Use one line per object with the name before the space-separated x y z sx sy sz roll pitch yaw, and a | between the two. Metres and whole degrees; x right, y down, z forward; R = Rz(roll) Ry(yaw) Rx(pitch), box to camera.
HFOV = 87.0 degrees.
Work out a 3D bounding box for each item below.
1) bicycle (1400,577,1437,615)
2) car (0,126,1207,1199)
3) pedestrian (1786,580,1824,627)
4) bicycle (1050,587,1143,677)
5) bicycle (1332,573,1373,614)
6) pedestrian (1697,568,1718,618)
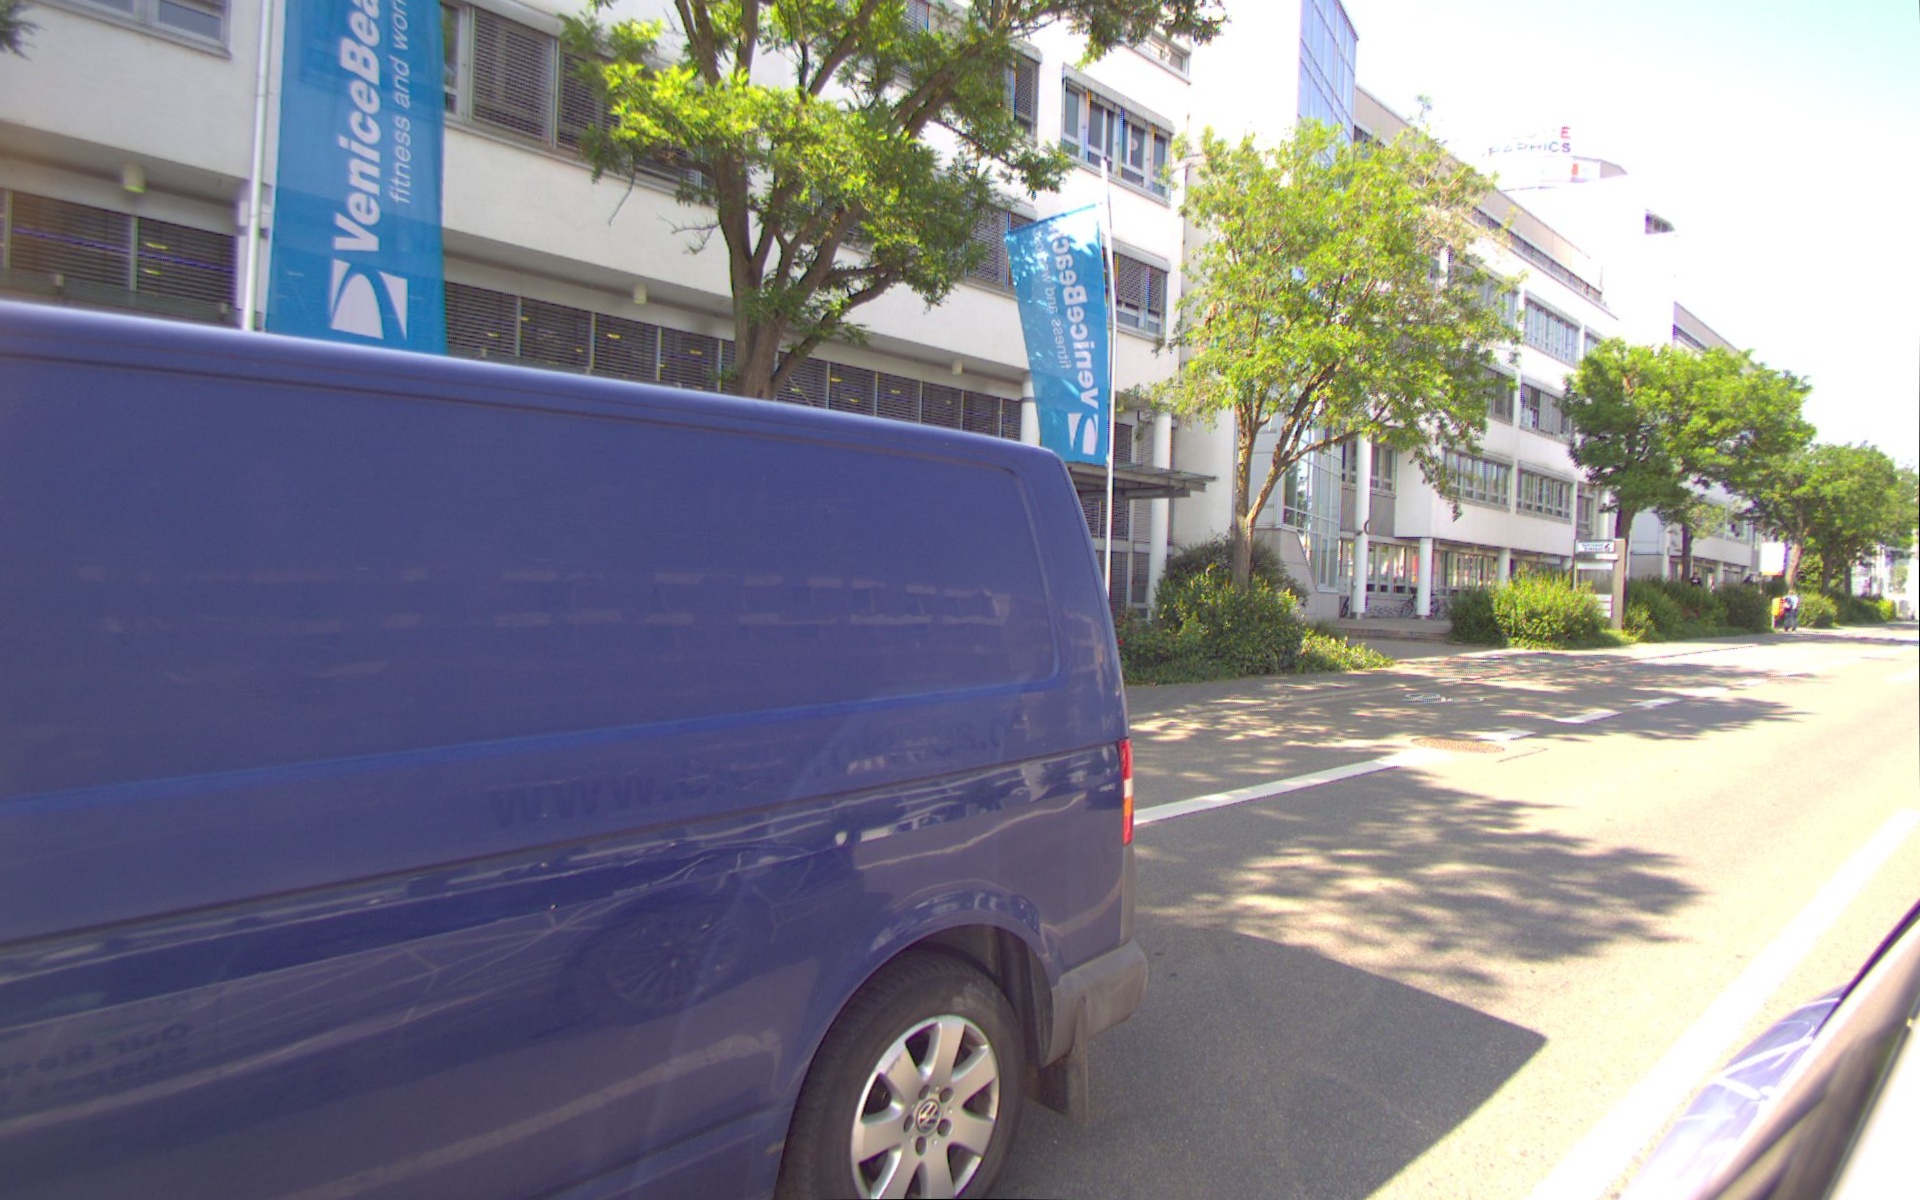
bicycle | 17.138 -0.154 37.811 1.851 1.371 0.506 0 1 -41
car | -1.812 0.409 1.909 4.805 1.972 1.997 -1 2 -41
pedestrian | 36.016 0.135 43.113 1.266 1.909 0.942 0 4 -40
bicycle | 2.197 0.475 16.107 0.504 1.346 1.856 2 1 41
bicycle | 13.677 -0.221 35.215 1.851 1.371 0.506 0 1 -41
pedestrian | 38.950 -0.357 52.717 0.704 2.581 0.716 0 1 -42
